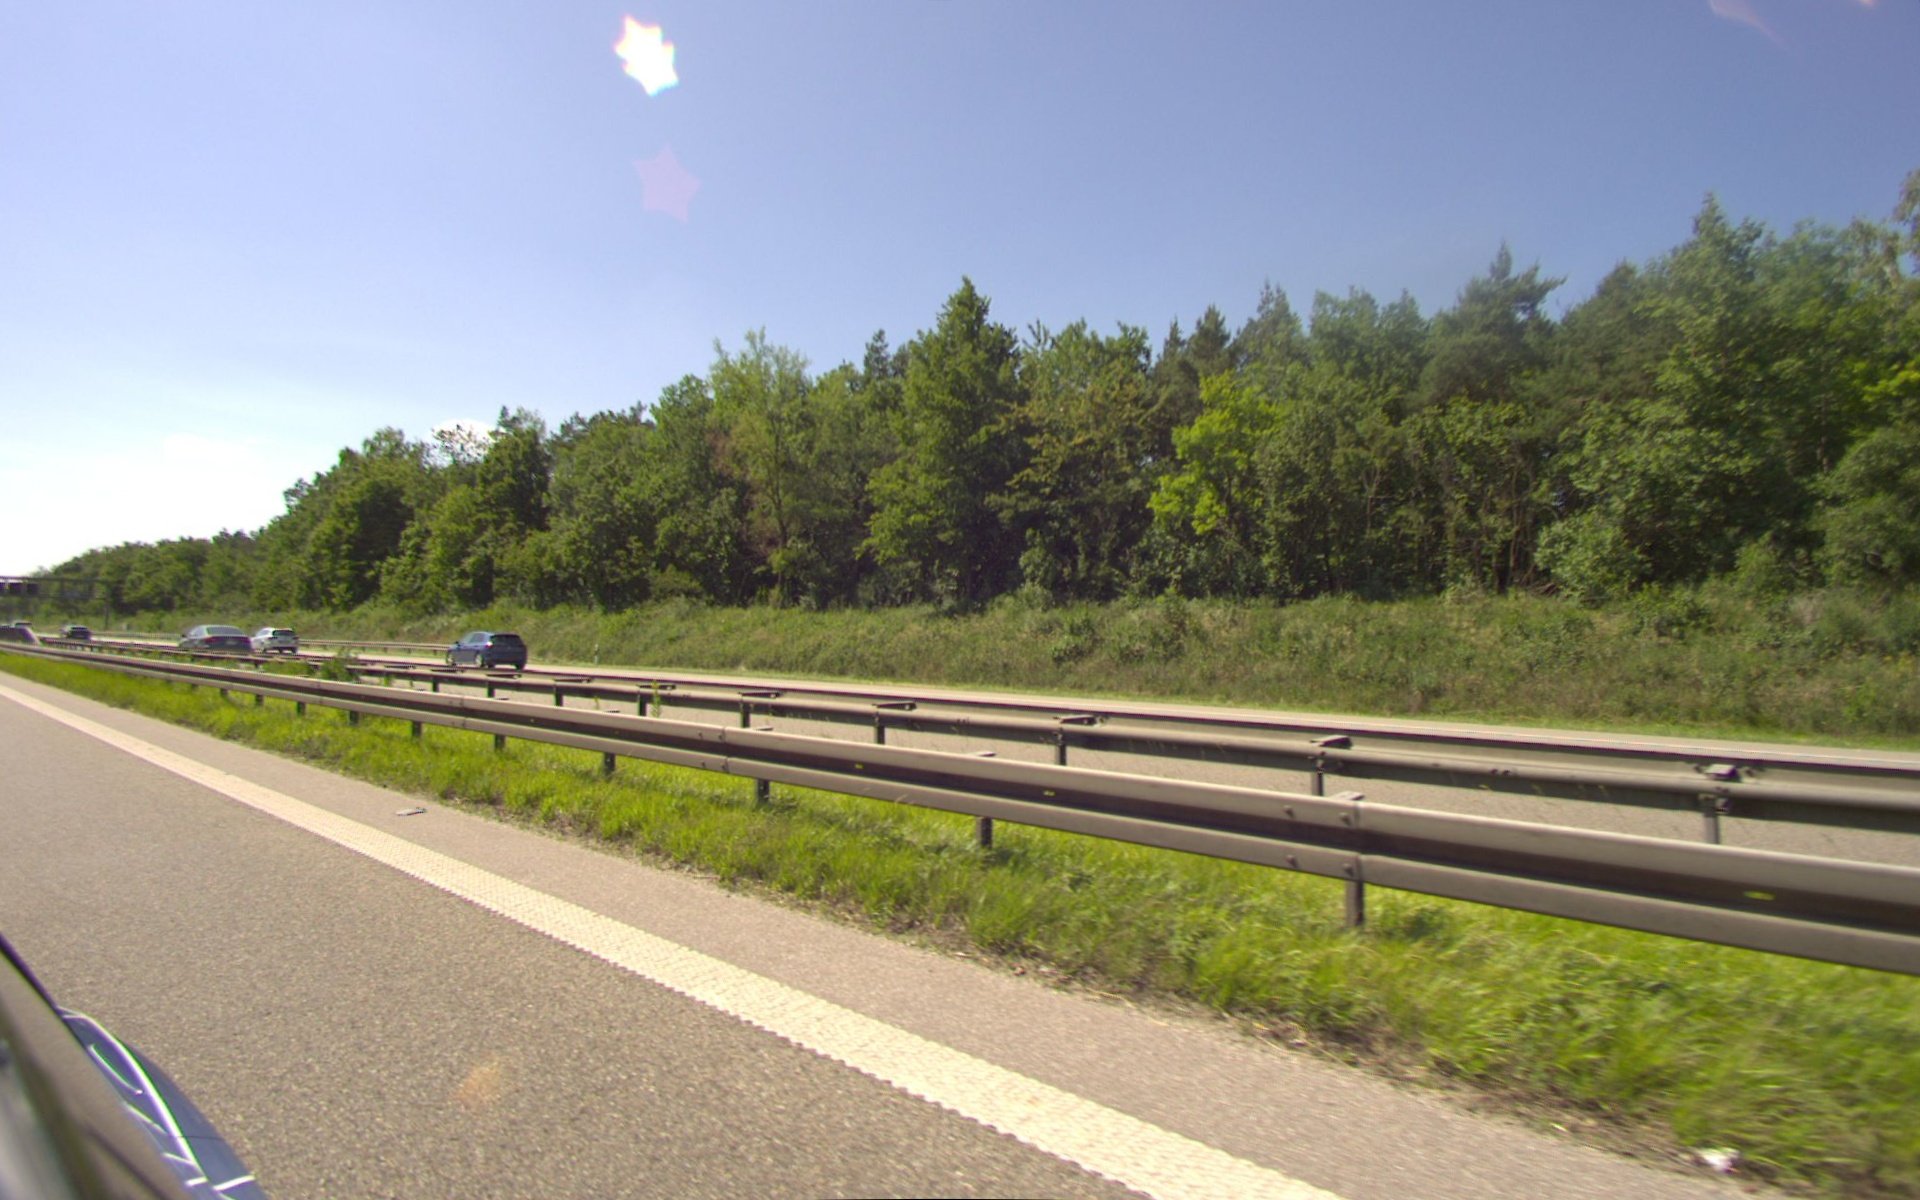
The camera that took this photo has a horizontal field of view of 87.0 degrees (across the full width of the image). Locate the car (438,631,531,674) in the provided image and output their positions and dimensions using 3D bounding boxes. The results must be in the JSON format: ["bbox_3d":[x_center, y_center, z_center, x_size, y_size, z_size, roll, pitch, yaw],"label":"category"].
[{"bbox_3d":[-18.425,2.006,39.142,4.366,1.580,1.578,-1,-4,41],"label":"car"}]

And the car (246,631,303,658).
[{"bbox_3d":[-41.254,2.674,60.867,4.939,1.504,1.610,-1,-4,42],"label":"car"}]

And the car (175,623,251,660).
[{"bbox_3d":[-29.277,1.609,39.614,4.415,1.366,1.470,-1,-3,41],"label":"car"}]

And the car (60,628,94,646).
[{"bbox_3d":[-78.448,3.275,89.891,4.428,1.580,1.737,-1,-4,42],"label":"car"}]

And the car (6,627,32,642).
[{"bbox_3d":[-112.550,4.111,121.065,5.538,1.646,1.758,-1,-4,42],"label":"car"}]
